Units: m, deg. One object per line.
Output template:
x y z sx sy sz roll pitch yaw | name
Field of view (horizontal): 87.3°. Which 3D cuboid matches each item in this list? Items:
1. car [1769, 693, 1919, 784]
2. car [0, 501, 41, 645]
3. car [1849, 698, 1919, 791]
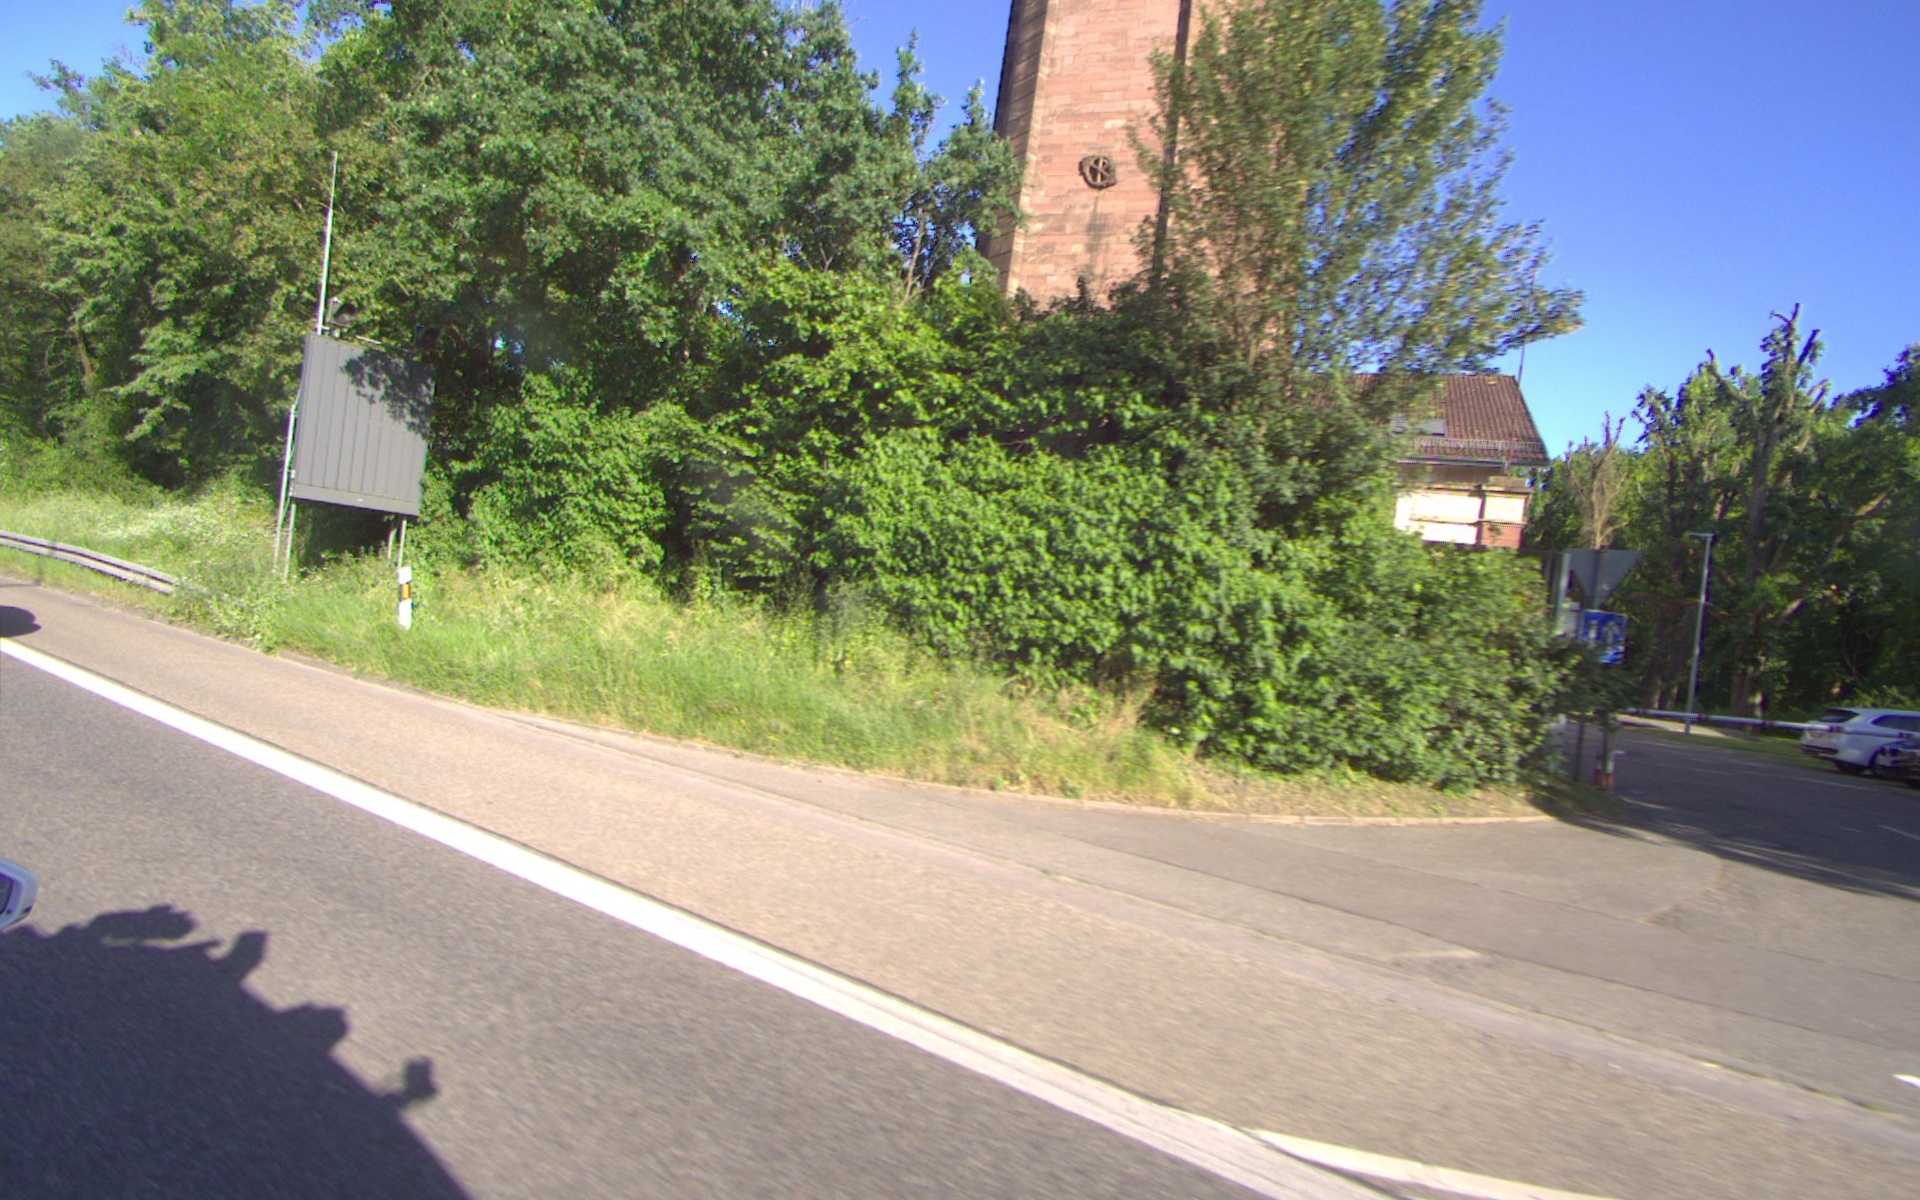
20.060 3.041 21.318 3.924 1.527 2.000 7 0 16 | car
-12.168 -0.555 11.131 4.286 1.479 1.882 7 -1 34 | car
19.016 2.870 18.431 3.933 1.526 1.996 7 0 -10 | car
